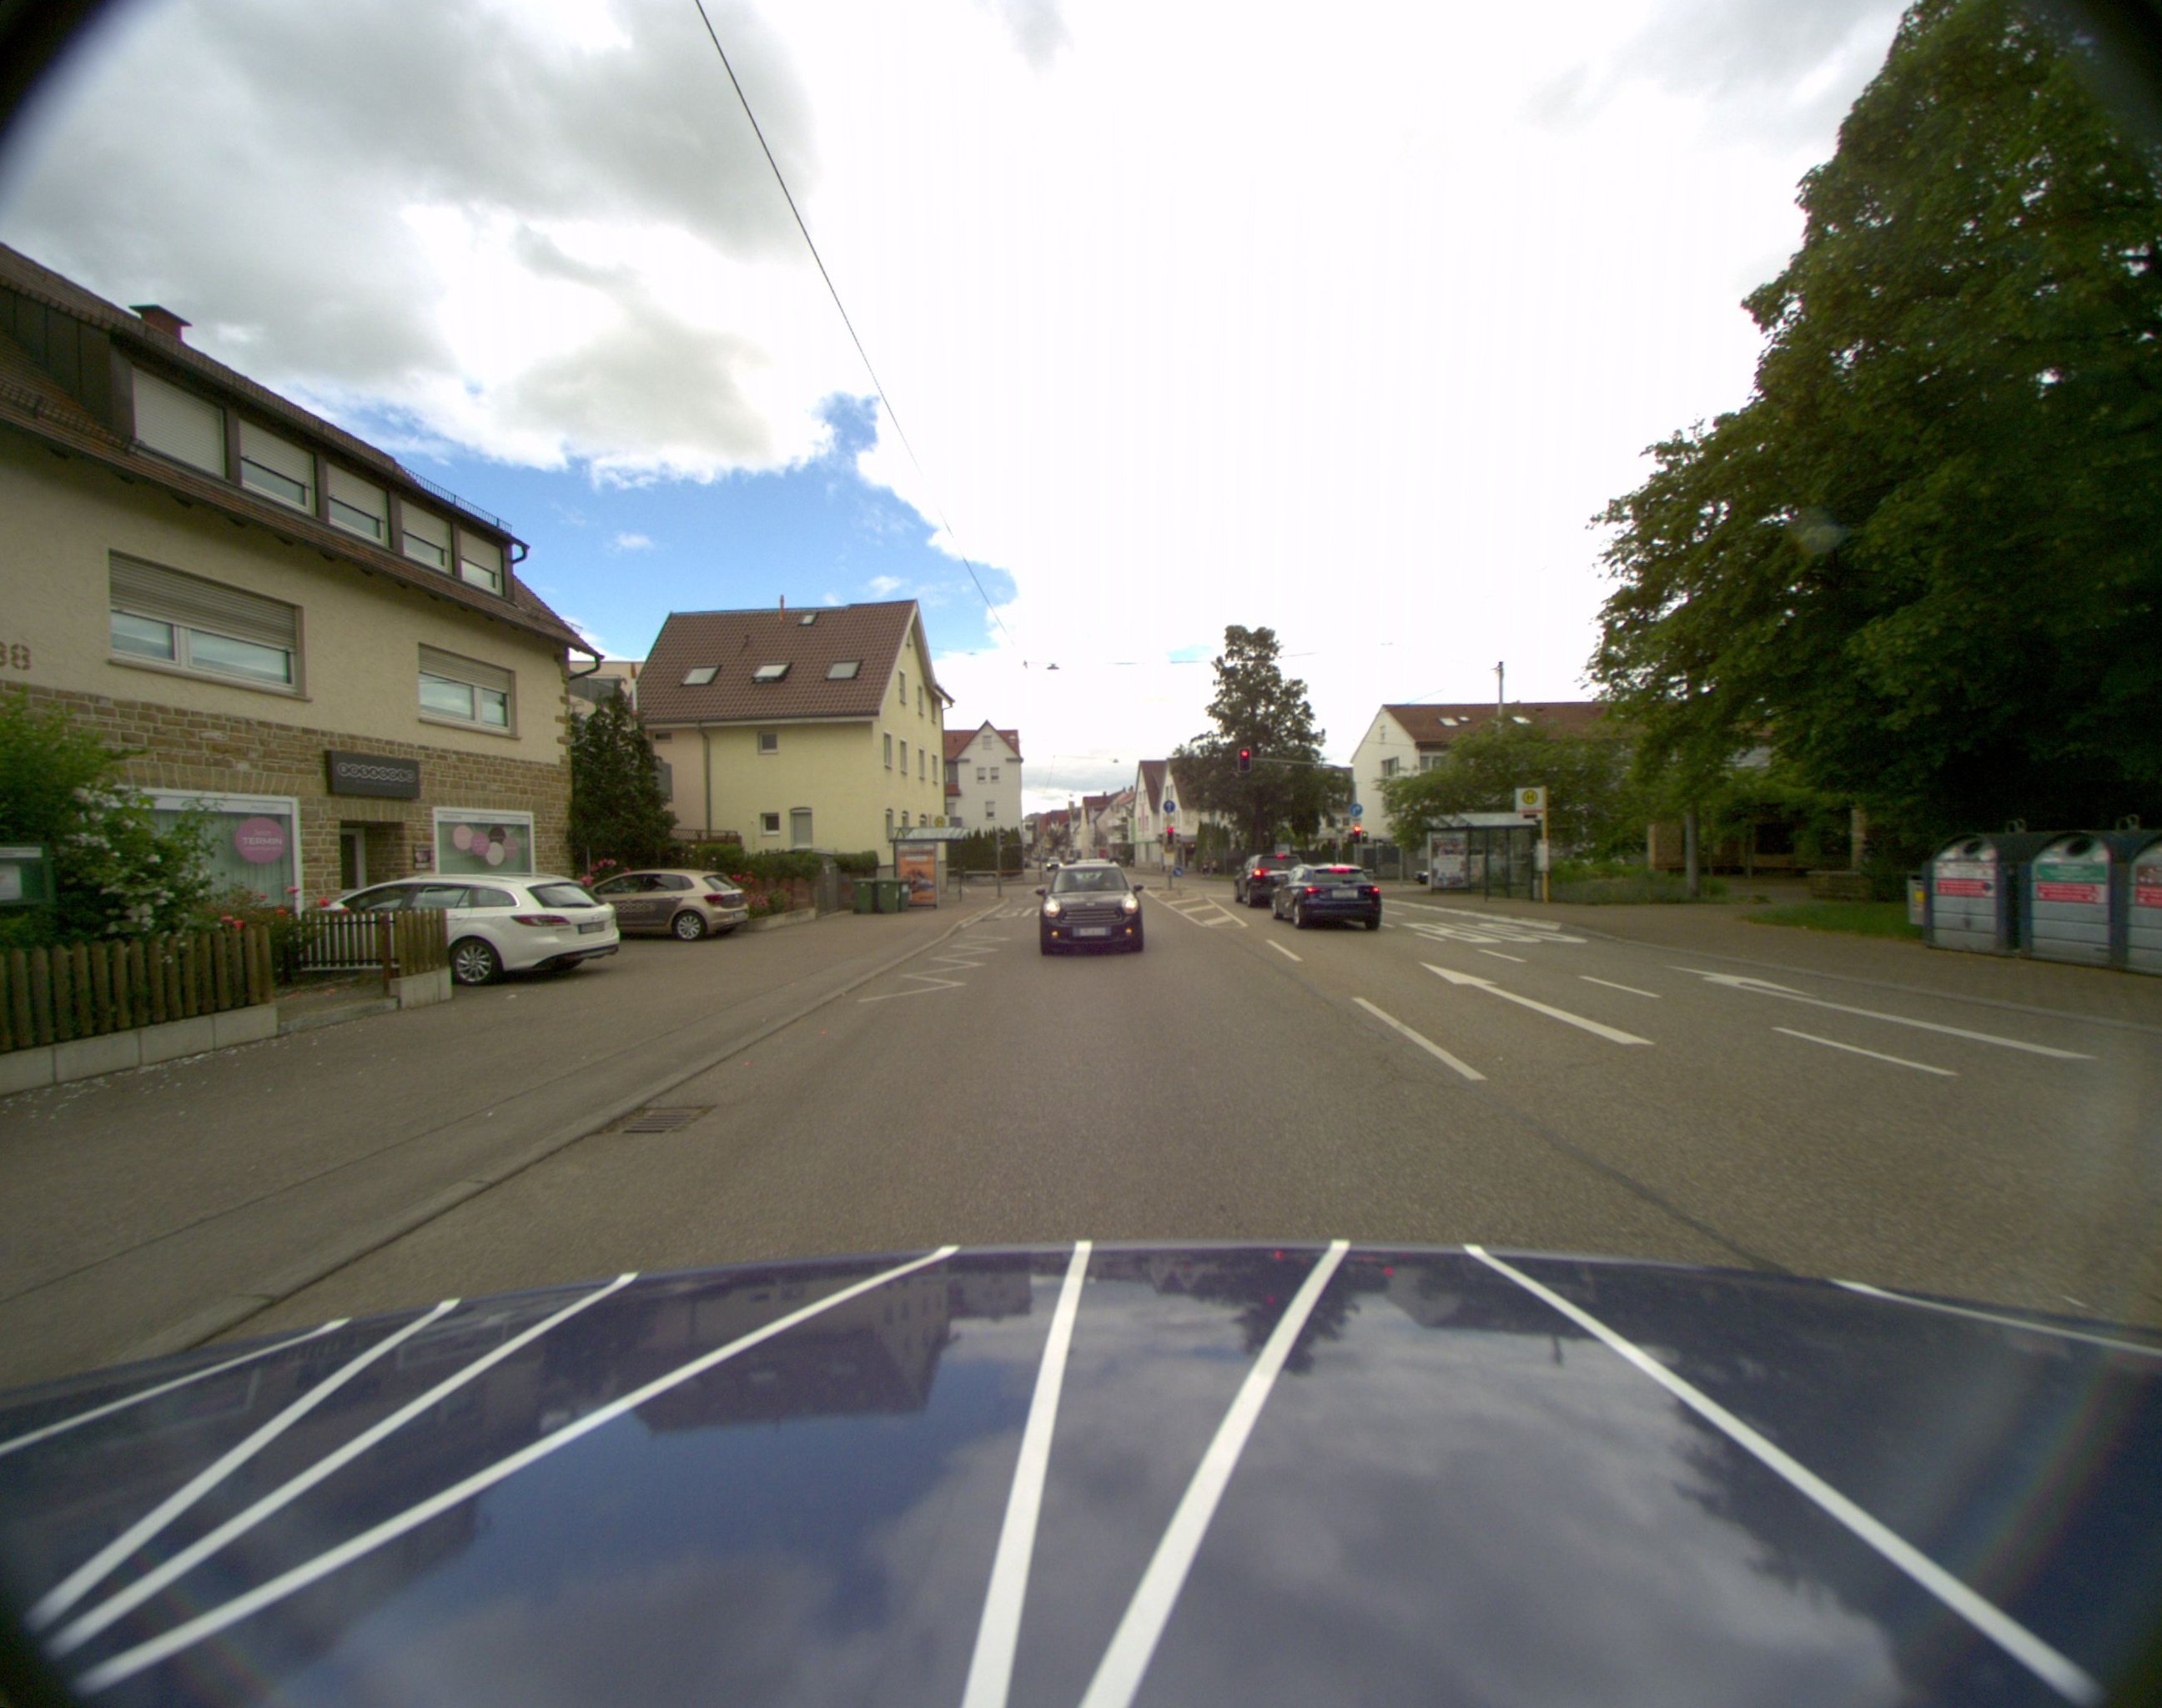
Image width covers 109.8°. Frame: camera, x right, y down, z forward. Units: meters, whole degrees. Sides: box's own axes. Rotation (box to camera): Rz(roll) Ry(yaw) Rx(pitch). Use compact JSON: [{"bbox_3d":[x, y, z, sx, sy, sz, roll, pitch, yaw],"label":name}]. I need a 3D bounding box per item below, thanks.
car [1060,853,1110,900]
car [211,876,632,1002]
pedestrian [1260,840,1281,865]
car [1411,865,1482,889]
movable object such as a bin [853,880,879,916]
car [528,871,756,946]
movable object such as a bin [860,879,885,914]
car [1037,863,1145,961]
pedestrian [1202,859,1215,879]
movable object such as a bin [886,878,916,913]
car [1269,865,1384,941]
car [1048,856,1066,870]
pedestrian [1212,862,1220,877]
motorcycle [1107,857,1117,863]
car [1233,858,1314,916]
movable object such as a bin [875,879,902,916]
[{"bbox_3d":[0.189,0.851,30.902,1.811,1.556,4.616,-2,2,1],"label":"car"},{"bbox_3d":[-9.109,1.119,10.760,4.430,1.480,1.865,1,1,3],"label":"car"},{"bbox_3d":[14.125,-0.109,56.665,0.825,1.744,1.226,-4,2,-45],"label":"pedestrian"},{"bbox_3d":[23.209,1.439,48.340,3.642,1.390,1.772,1,0,1],"label":"car"},{"bbox_3d":[-6.509,1.328,23.014,0.638,1.040,0.586,-1,1,-4],"label":"movable object such as a bin"},{"bbox_3d":[-9.068,1.110,15.935,3.813,1.394,1.640,1,1,-1],"label":"car"},{"bbox_3d":[-6.495,1.332,23.671,0.638,1.040,0.586,-1,1,-4],"label":"movable object such as a bin"},{"bbox_3d":[0.192,0.961,14.270,1.693,1.506,4.000,-2,0,1],"label":"car"},{"bbox_3d":[10.341,1.185,61.784,0.642,1.596,0.865,-3,1,-16],"label":"pedestrian"},{"bbox_3d":[-5.642,1.285,23.801,0.636,1.040,0.593,-2,1,29],"label":"movable object such as a bin"},{"bbox_3d":[5.561,1.047,17.700,1.567,1.412,4.131,-1,1,3],"label":"car"},{"bbox_3d":[-2.960,1.119,93.176,1.847,1.510,3.997,-3,1,-6],"label":"car"},{"bbox_3d":[10.971,1.252,61.820,0.383,1.254,0.549,-3,1,-16],"label":"pedestrian"},{"bbox_3d":[4.966,0.955,122.167,1.430,1.017,0.525,-3,1,-7],"label":"motorcycle"},{"bbox_3d":[6.226,1.006,25.063,1.762,1.626,4.595,1,1,4],"label":"car"},{"bbox_3d":[-5.831,1.311,23.055,0.638,1.040,0.586,-3,1,-4],"label":"movable object such as a bin"}]
